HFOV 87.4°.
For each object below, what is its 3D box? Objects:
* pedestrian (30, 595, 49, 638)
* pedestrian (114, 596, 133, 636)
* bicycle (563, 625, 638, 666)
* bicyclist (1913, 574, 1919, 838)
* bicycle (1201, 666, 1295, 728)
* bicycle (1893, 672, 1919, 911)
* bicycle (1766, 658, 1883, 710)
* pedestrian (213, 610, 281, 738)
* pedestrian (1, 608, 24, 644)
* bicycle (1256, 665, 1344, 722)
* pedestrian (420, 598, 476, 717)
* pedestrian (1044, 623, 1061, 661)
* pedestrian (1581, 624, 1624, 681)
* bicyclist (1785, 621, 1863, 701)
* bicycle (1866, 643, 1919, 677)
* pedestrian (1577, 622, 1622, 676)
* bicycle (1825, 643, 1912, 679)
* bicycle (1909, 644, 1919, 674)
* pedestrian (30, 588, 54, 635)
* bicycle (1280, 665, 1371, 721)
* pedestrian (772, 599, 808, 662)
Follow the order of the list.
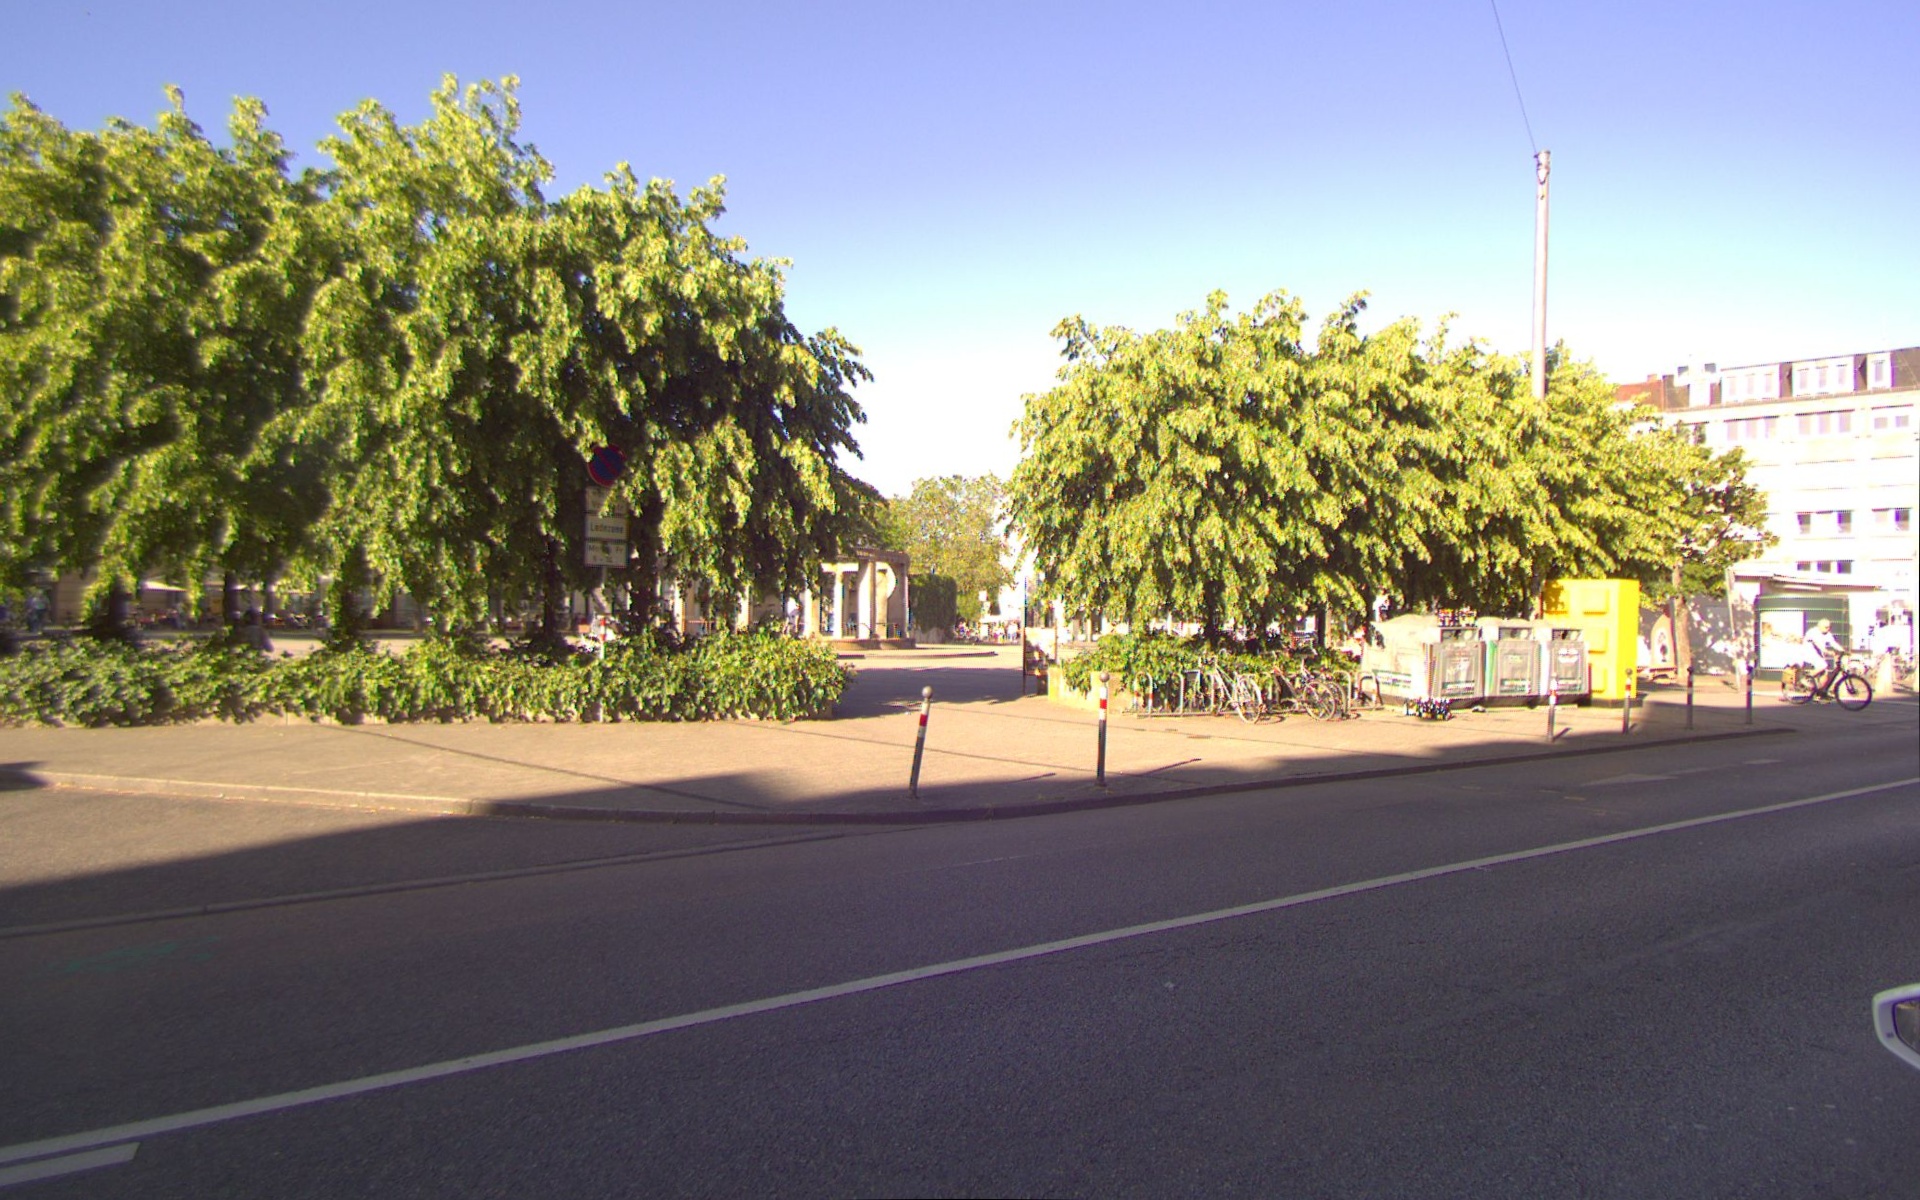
[{"bbox_3d":[-39.761,0.708,43.388,0.579,1.816,0.593,2,0,-44],"label":"pedestrian"},{"bbox_3d":[-39.120,0.754,46.988,0.597,1.816,0.575,2,0,-44],"label":"pedestrian"},{"bbox_3d":[-9.843,1.225,27.491,2.018,1.030,0.504,1,0,16],"label":"bicycle"},{"bbox_3d":[5.898,0.593,5.460,0.996,1.454,0.792,1,-1,-30],"label":"bicyclist"},{"bbox_3d":[4.334,1.450,15.243,0.467,0.779,1.653,2,0,-20],"label":"bicycle"},{"bbox_3d":[5.974,1.034,5.506,1.753,1.249,0.792,1,-1,-30],"label":"bicycle"},{"bbox_3d":[18.717,1.799,21.812,0.619,0.958,1.862,1,0,-18],"label":"bicycle"},{"bbox_3d":[-10.814,1.099,15.251,0.722,1.881,0.578,2,0,-28],"label":"pedestrian"},{"bbox_3d":[-47.347,1.296,50.186,0.571,1.816,0.601,1,0,19],"label":"pedestrian"},{"bbox_3d":[5.453,1.488,16.180,0.435,0.779,1.469,2,0,-25],"label":"bicycle"},{"bbox_3d":[-8.386,0.927,16.453,0.574,1.881,0.598,1,0,41],"label":"pedestrian"},{"bbox_3d":[5.120,2.322,55.599,0.670,2.040,0.579,2,0,-23],"label":"pedestrian"},{"bbox_3d":[20.411,1.663,31.918,0.734,1.748,0.898,1,0,-26],"label":"pedestrian"},{"bbox_3d":[18.736,1.307,21.807,0.619,1.676,1.119,1,-1,-19],"label":"bicyclist"},{"bbox_3d":[33.162,2.113,35.125,0.796,1.119,2.073,1,-1,-30],"label":"bicycle"},{"bbox_3d":[20.421,1.556,32.084,0.727,1.658,0.983,1,0,-26],"label":"pedestrian"},{"bbox_3d":[30.856,2.066,34.151,0.796,1.119,2.073,1,-1,-30],"label":"bicycle"},{"bbox_3d":[37.125,2.247,37.704,0.796,1.119,2.073,1,-1,-30],"label":"bicycle"},{"bbox_3d":[-35.299,0.438,38.626,0.597,1.816,0.576,2,0,-40],"label":"pedestrian"},{"bbox_3d":[5.955,1.499,16.415,0.468,0.779,1.468,2,0,-27],"label":"bicycle"},{"bbox_3d":[-4.847,0.863,28.672,0.918,1.775,0.728,2,0,-15],"label":"pedestrian"}]
